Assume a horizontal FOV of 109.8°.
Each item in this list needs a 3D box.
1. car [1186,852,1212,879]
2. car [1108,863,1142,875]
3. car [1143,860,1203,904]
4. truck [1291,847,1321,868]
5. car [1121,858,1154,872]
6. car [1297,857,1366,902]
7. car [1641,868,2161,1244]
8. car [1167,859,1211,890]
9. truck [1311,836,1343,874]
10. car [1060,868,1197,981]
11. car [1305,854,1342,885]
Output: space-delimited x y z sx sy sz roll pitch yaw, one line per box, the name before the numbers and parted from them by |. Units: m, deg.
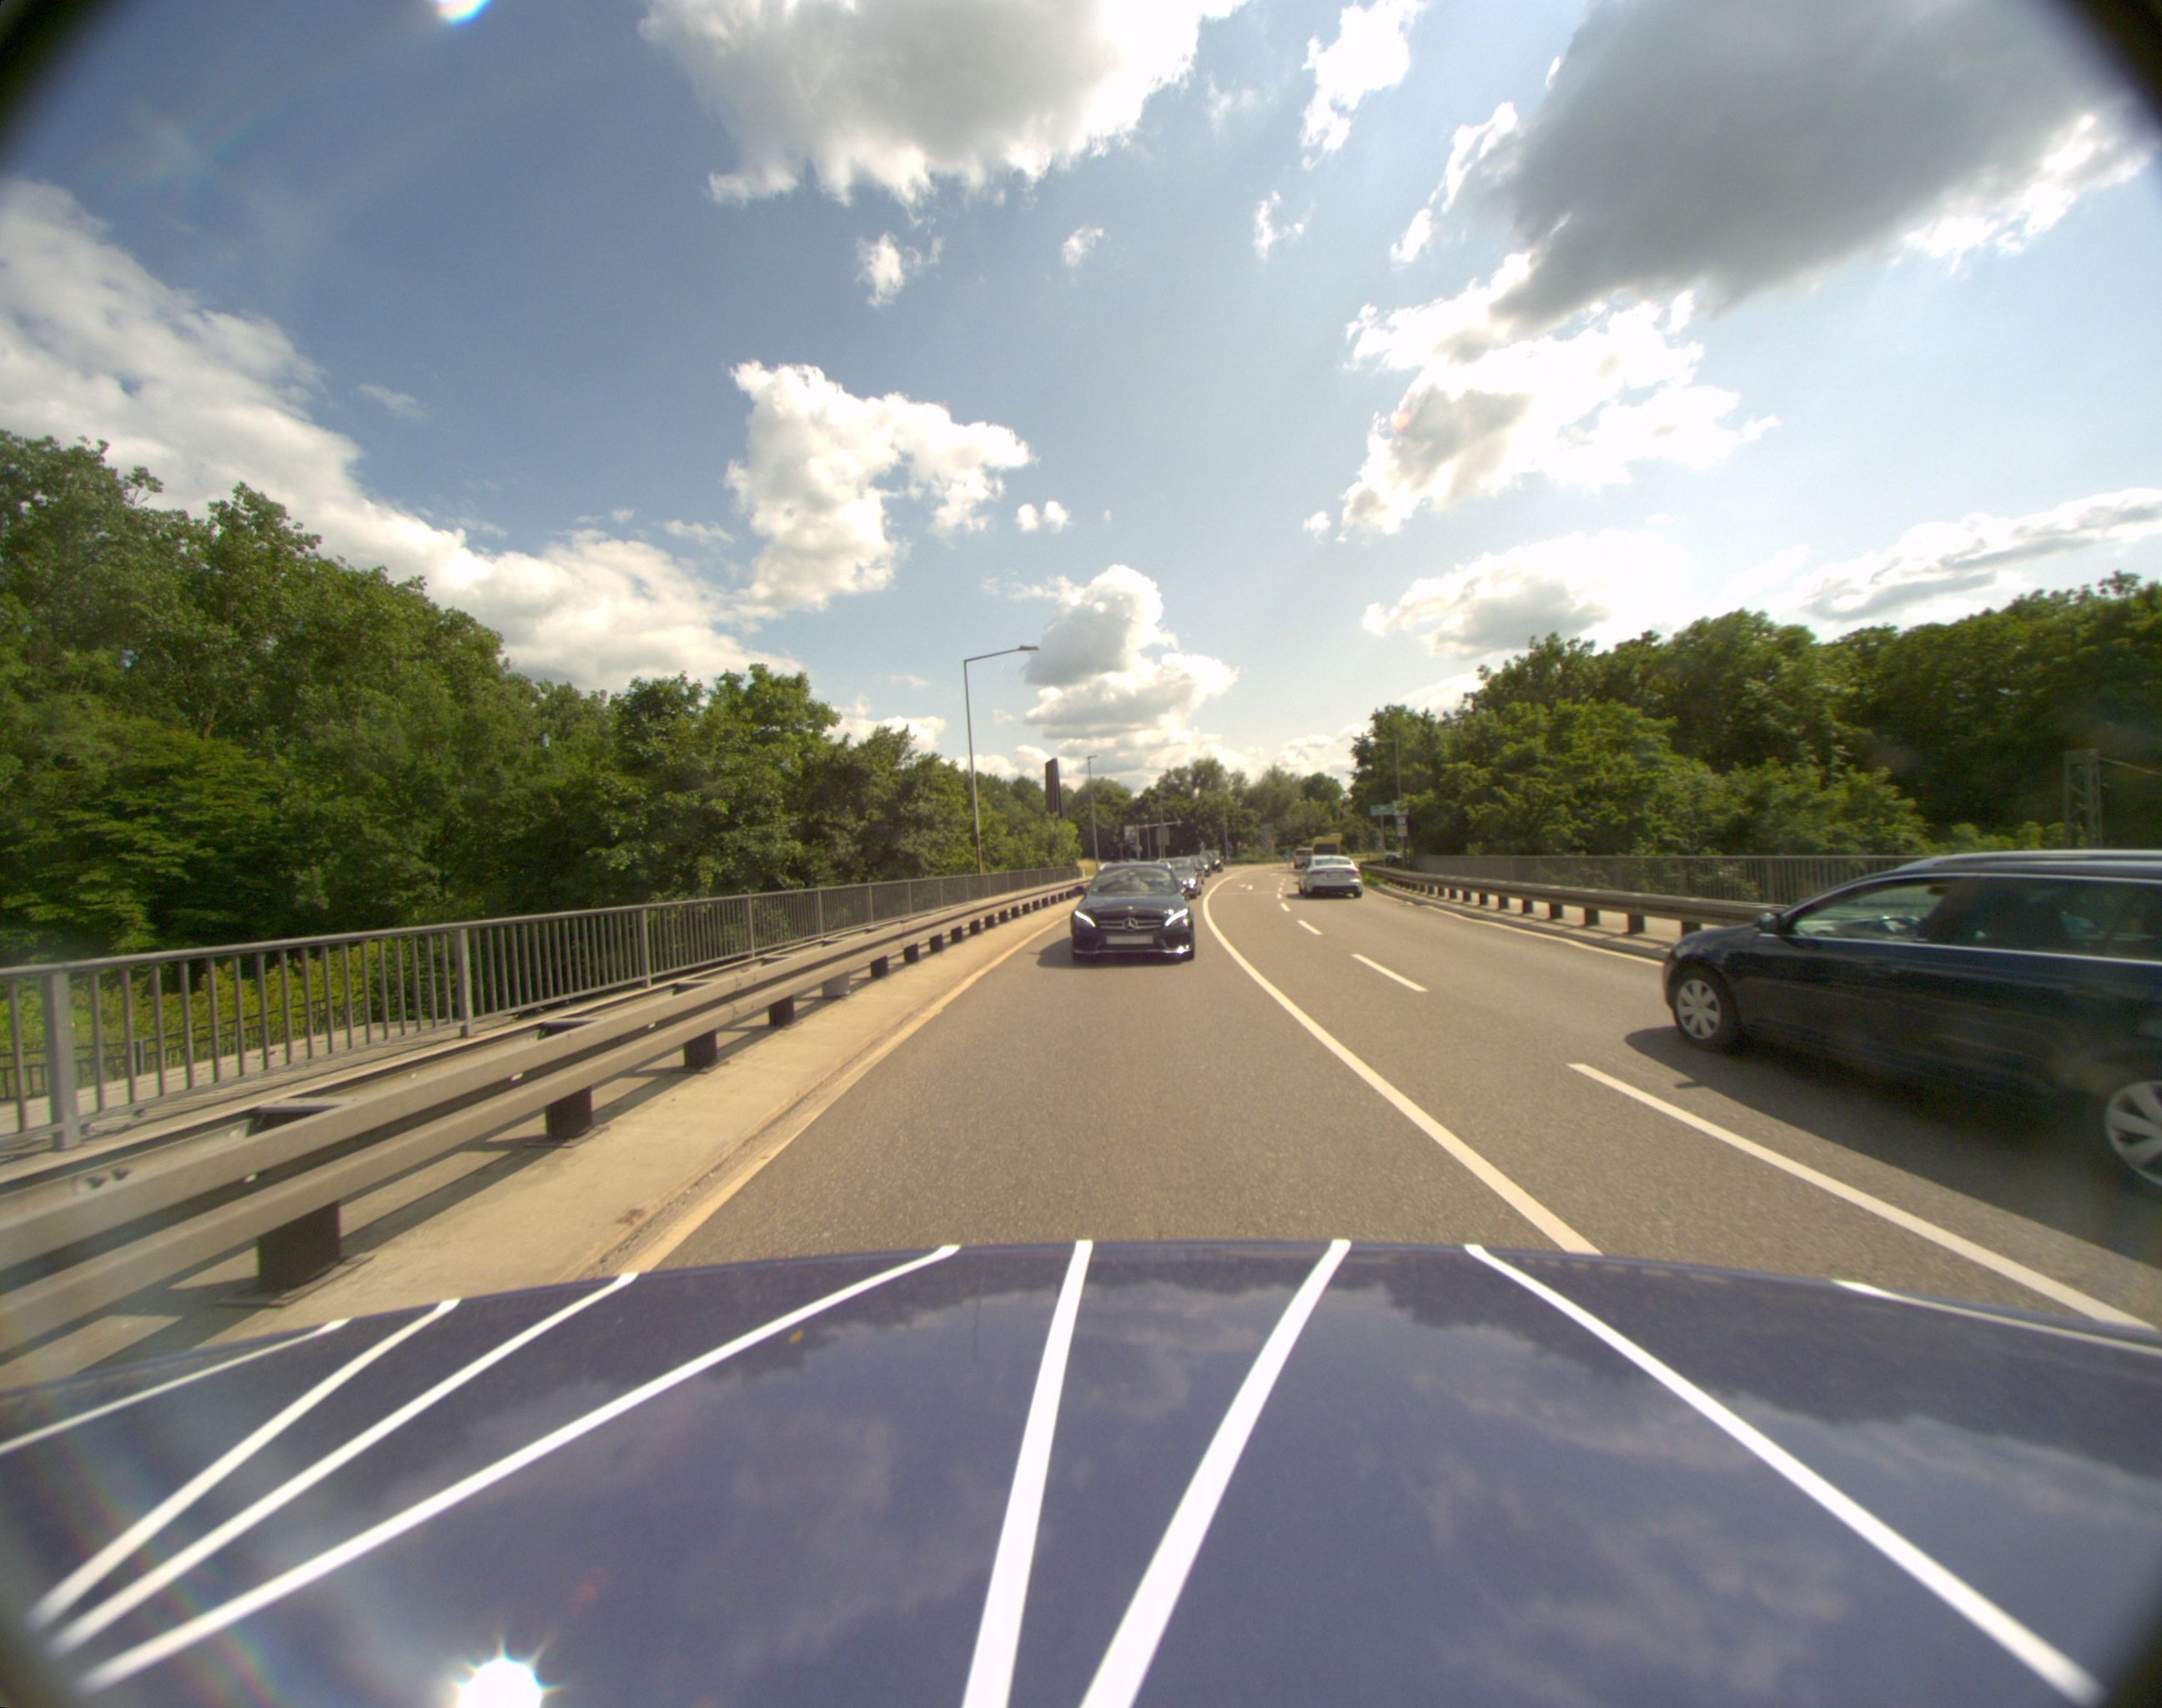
car | 8.135 0.762 52.439 1.636 1.505 3.720 -4 3 9
car | 5.685 1.893 98.198 1.763 1.367 4.205 -1 -2 -44
car | 3.429 0.972 27.642 1.856 1.355 4.003 -1 1 11
truck | 21.435 0.328 72.401 1.962 1.902 5.379 -1 0 25
car | 7.499 1.432 101.729 1.841 1.635 4.205 -1 -2 -44
car | 8.742 0.843 26.884 1.797 1.367 4.584 -1 0 12
car | 5.239 0.846 3.917 1.662 1.445 4.327 -1 0 3
car | 5.648 1.016 39.160 1.820 1.329 4.733 -4 -1 12
truck | 17.861 0.053 54.997 1.995 2.605 6.113 0 0 20
car | 0.970 0.997 12.626 1.794 1.427 4.372 0 1 10
car | 12.564 0.752 39.381 1.750 1.441 4.342 -1 1 18
